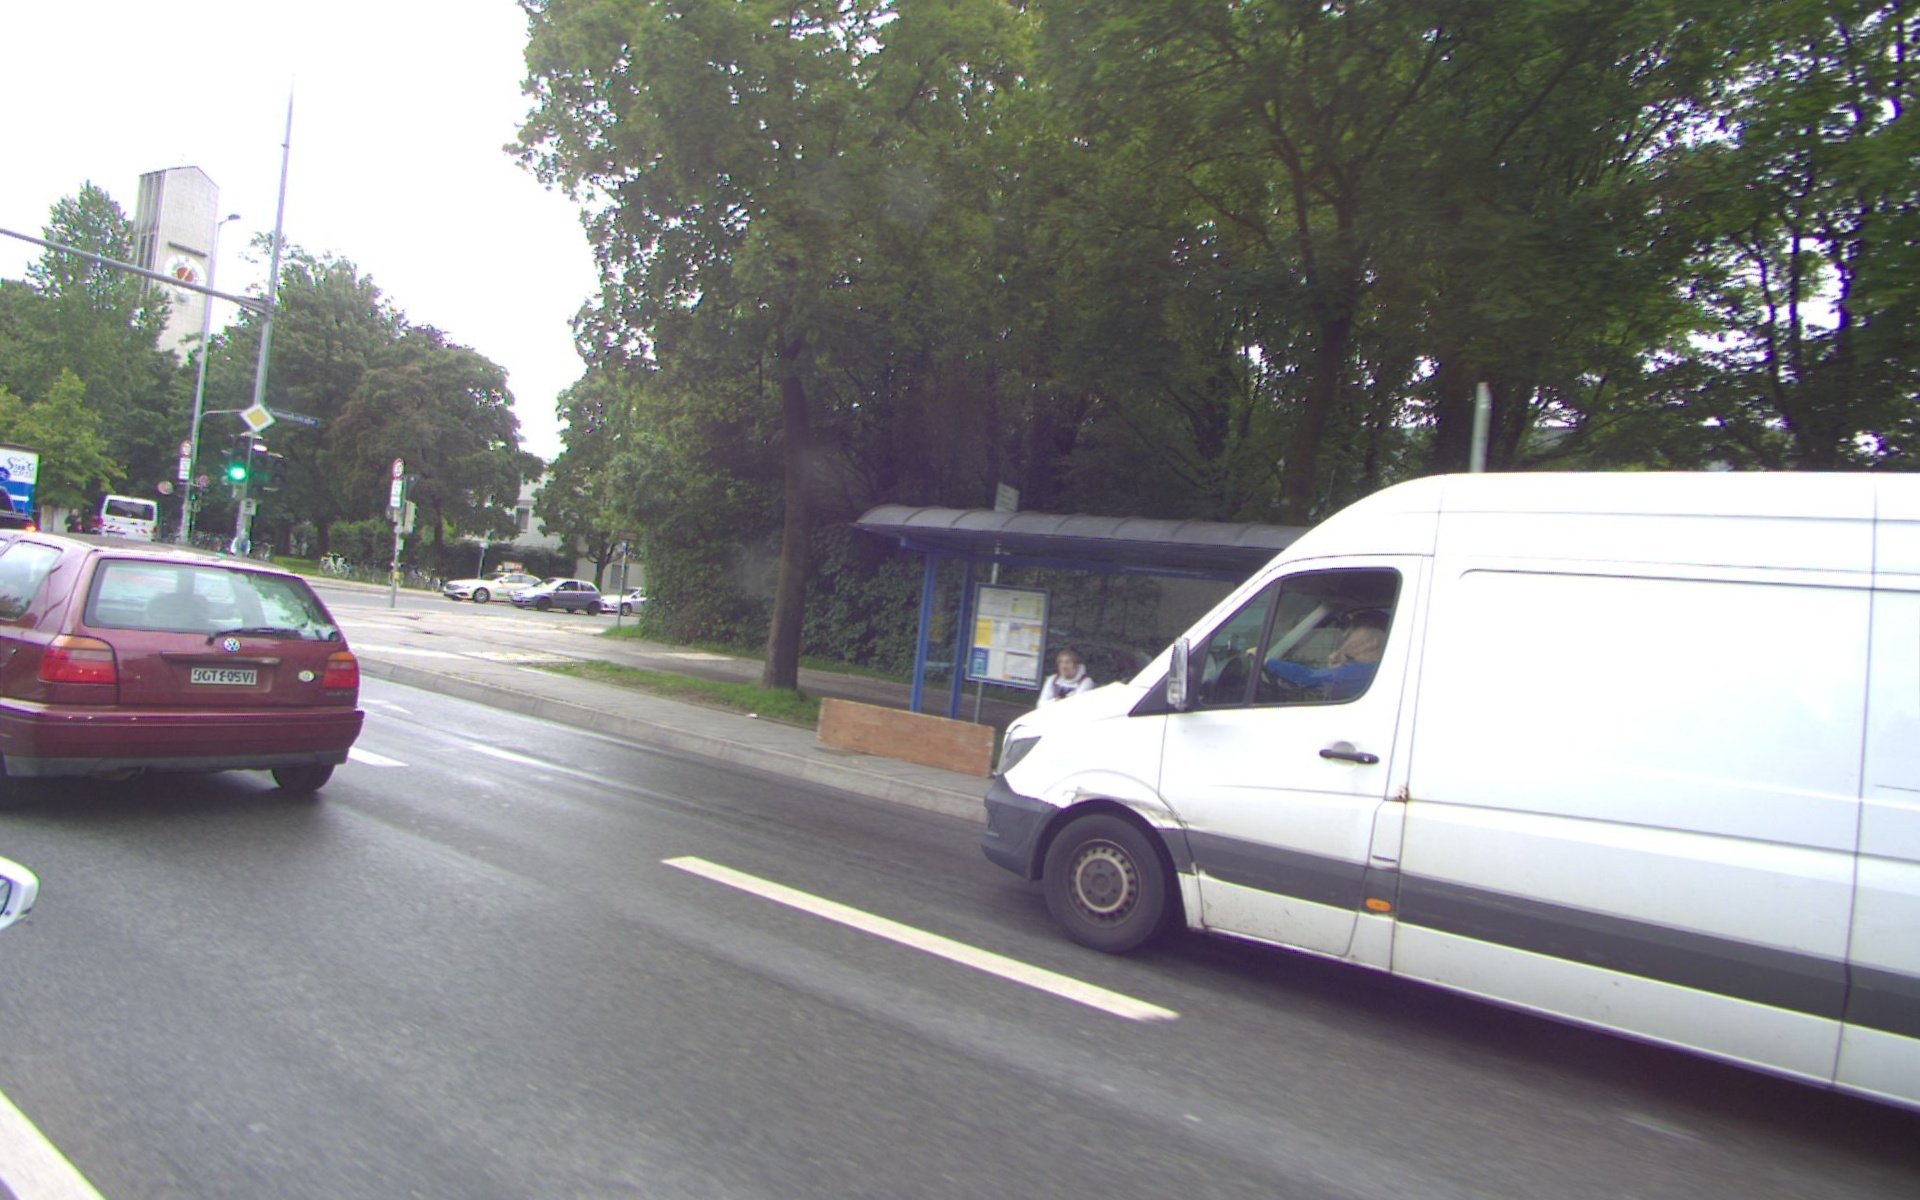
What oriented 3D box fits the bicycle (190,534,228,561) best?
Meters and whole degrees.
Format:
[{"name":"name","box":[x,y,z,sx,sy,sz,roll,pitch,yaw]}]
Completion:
[{"name":"bicycle","box":[-37.302,-2.581,49.984,0.707,1.167,2.122,7,-1,-16]}]

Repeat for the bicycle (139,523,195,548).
[{"name":"bicycle","box":[-44.211,-3.577,56.123,0.520,1.172,2.339,7,1,32]}]

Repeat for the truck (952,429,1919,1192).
[{"name":"truck","box":[3.628,0.786,4.523,7.107,2.634,1.997,6,-1,31]}]

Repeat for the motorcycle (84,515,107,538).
[{"name":"motorcycle","box":[-51.029,-4.330,59.368,0.652,1.192,1.799,7,0,-31]}]

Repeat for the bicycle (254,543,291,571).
[{"name":"bicycle","box":[-32.630,-2.047,47.745,2.096,1.167,0.696,6,0,36]}]

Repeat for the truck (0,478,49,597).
[{"name":"truck","box":[-19.412,-1.381,19.236,5.729,2.038,2.097,6,-1,40]}]

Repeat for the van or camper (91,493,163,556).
[{"name":"van or camper","box":[-36.691,-3.319,44.390,2.132,2.324,6.132,7,-1,-39]}]

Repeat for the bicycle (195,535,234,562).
[{"name":"bicycle","box":[-36.106,-2.471,48.758,0.707,1.167,2.122,7,-1,-16]}]

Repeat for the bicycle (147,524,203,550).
[{"name":"bicycle","box":[-43.332,-3.481,55.575,0.520,1.172,2.339,7,1,32]}]

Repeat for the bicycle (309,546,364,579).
[{"name":"bicycle","box":[-29.223,-1.773,47.169,2.074,1.266,0.704,7,0,7]}]

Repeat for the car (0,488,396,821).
[{"name":"car","box":[-5.389,0.143,6.176,3.885,1.471,1.624,6,-1,33]}]

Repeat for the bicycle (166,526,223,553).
[{"name":"bicycle","box":[-40.822,-3.220,53.706,0.520,1.172,2.339,7,1,32]}]

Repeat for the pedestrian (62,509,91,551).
[{"name":"pedestrian","box":[-35.448,-2.811,40.376,0.687,1.557,0.730,6,0,-38]}]

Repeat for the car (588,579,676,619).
[{"name":"car","box":[-16.040,-0.021,49.381,1.600,1.471,3.944,6,-1,30]}]

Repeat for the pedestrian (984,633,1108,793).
[{"name":"pedestrian","box":[0.862,1.107,9.815,0.601,1.398,1.157,6,-3,30]}]

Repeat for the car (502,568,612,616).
[{"name":"car","box":[-16.646,-0.305,41.757,1.601,1.471,3.941,6,-1,33]}]

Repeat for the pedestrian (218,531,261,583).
[{"name":"pedestrian","box":[-26.032,-1.552,36.368,0.922,1.724,0.761,6,0,24]}]

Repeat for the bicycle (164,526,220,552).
[{"name":"bicycle","box":[-41.269,-3.265,54.087,0.520,1.172,2.339,7,1,32]}]

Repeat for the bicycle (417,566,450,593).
[{"name":"bicycle","box":[-25.294,-0.984,48.312,2.085,1.108,0.607,6,0,41]}]

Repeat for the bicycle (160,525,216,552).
[{"name":"bicycle","box":[-41.748,-3.316,54.413,0.520,1.172,2.339,7,1,32]}]

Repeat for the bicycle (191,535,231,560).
[{"name":"bicycle","box":[-39.529,-2.755,53.141,0.706,1.167,2.125,7,-1,-10]}]

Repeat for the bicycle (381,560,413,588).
[{"name":"bicycle","box":[-26.664,-1.236,47.604,2.086,1.108,0.607,6,-1,43]}]

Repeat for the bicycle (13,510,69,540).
[{"name":"bicycle","box":[-42.504,-3.457,46.523,0.559,1.157,1.804,6,1,38]}]

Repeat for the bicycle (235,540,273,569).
[{"name":"bicycle","box":[-33.067,-2.131,47.092,2.096,1.167,0.716,6,0,36]}]

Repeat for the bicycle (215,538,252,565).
[{"name":"bicycle","box":[-35.347,-2.360,48.962,0.707,1.167,2.122,7,-1,-16]}]

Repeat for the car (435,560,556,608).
[{"name":"car","box":[-19.754,-0.639,42.952,1.855,1.515,4.308,6,-1,29]}]

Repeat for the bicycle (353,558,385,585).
[{"name":"bicycle","box":[-27.969,-1.368,47.617,2.085,1.108,0.607,6,0,41]}]

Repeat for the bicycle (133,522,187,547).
[{"name":"bicycle","box":[-45.570,-3.711,57.331,0.520,1.172,2.339,7,1,32]}]

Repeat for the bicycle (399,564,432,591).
[{"name":"bicycle","box":[-26.043,-1.093,48.092,2.085,1.108,0.607,6,0,41]}]
